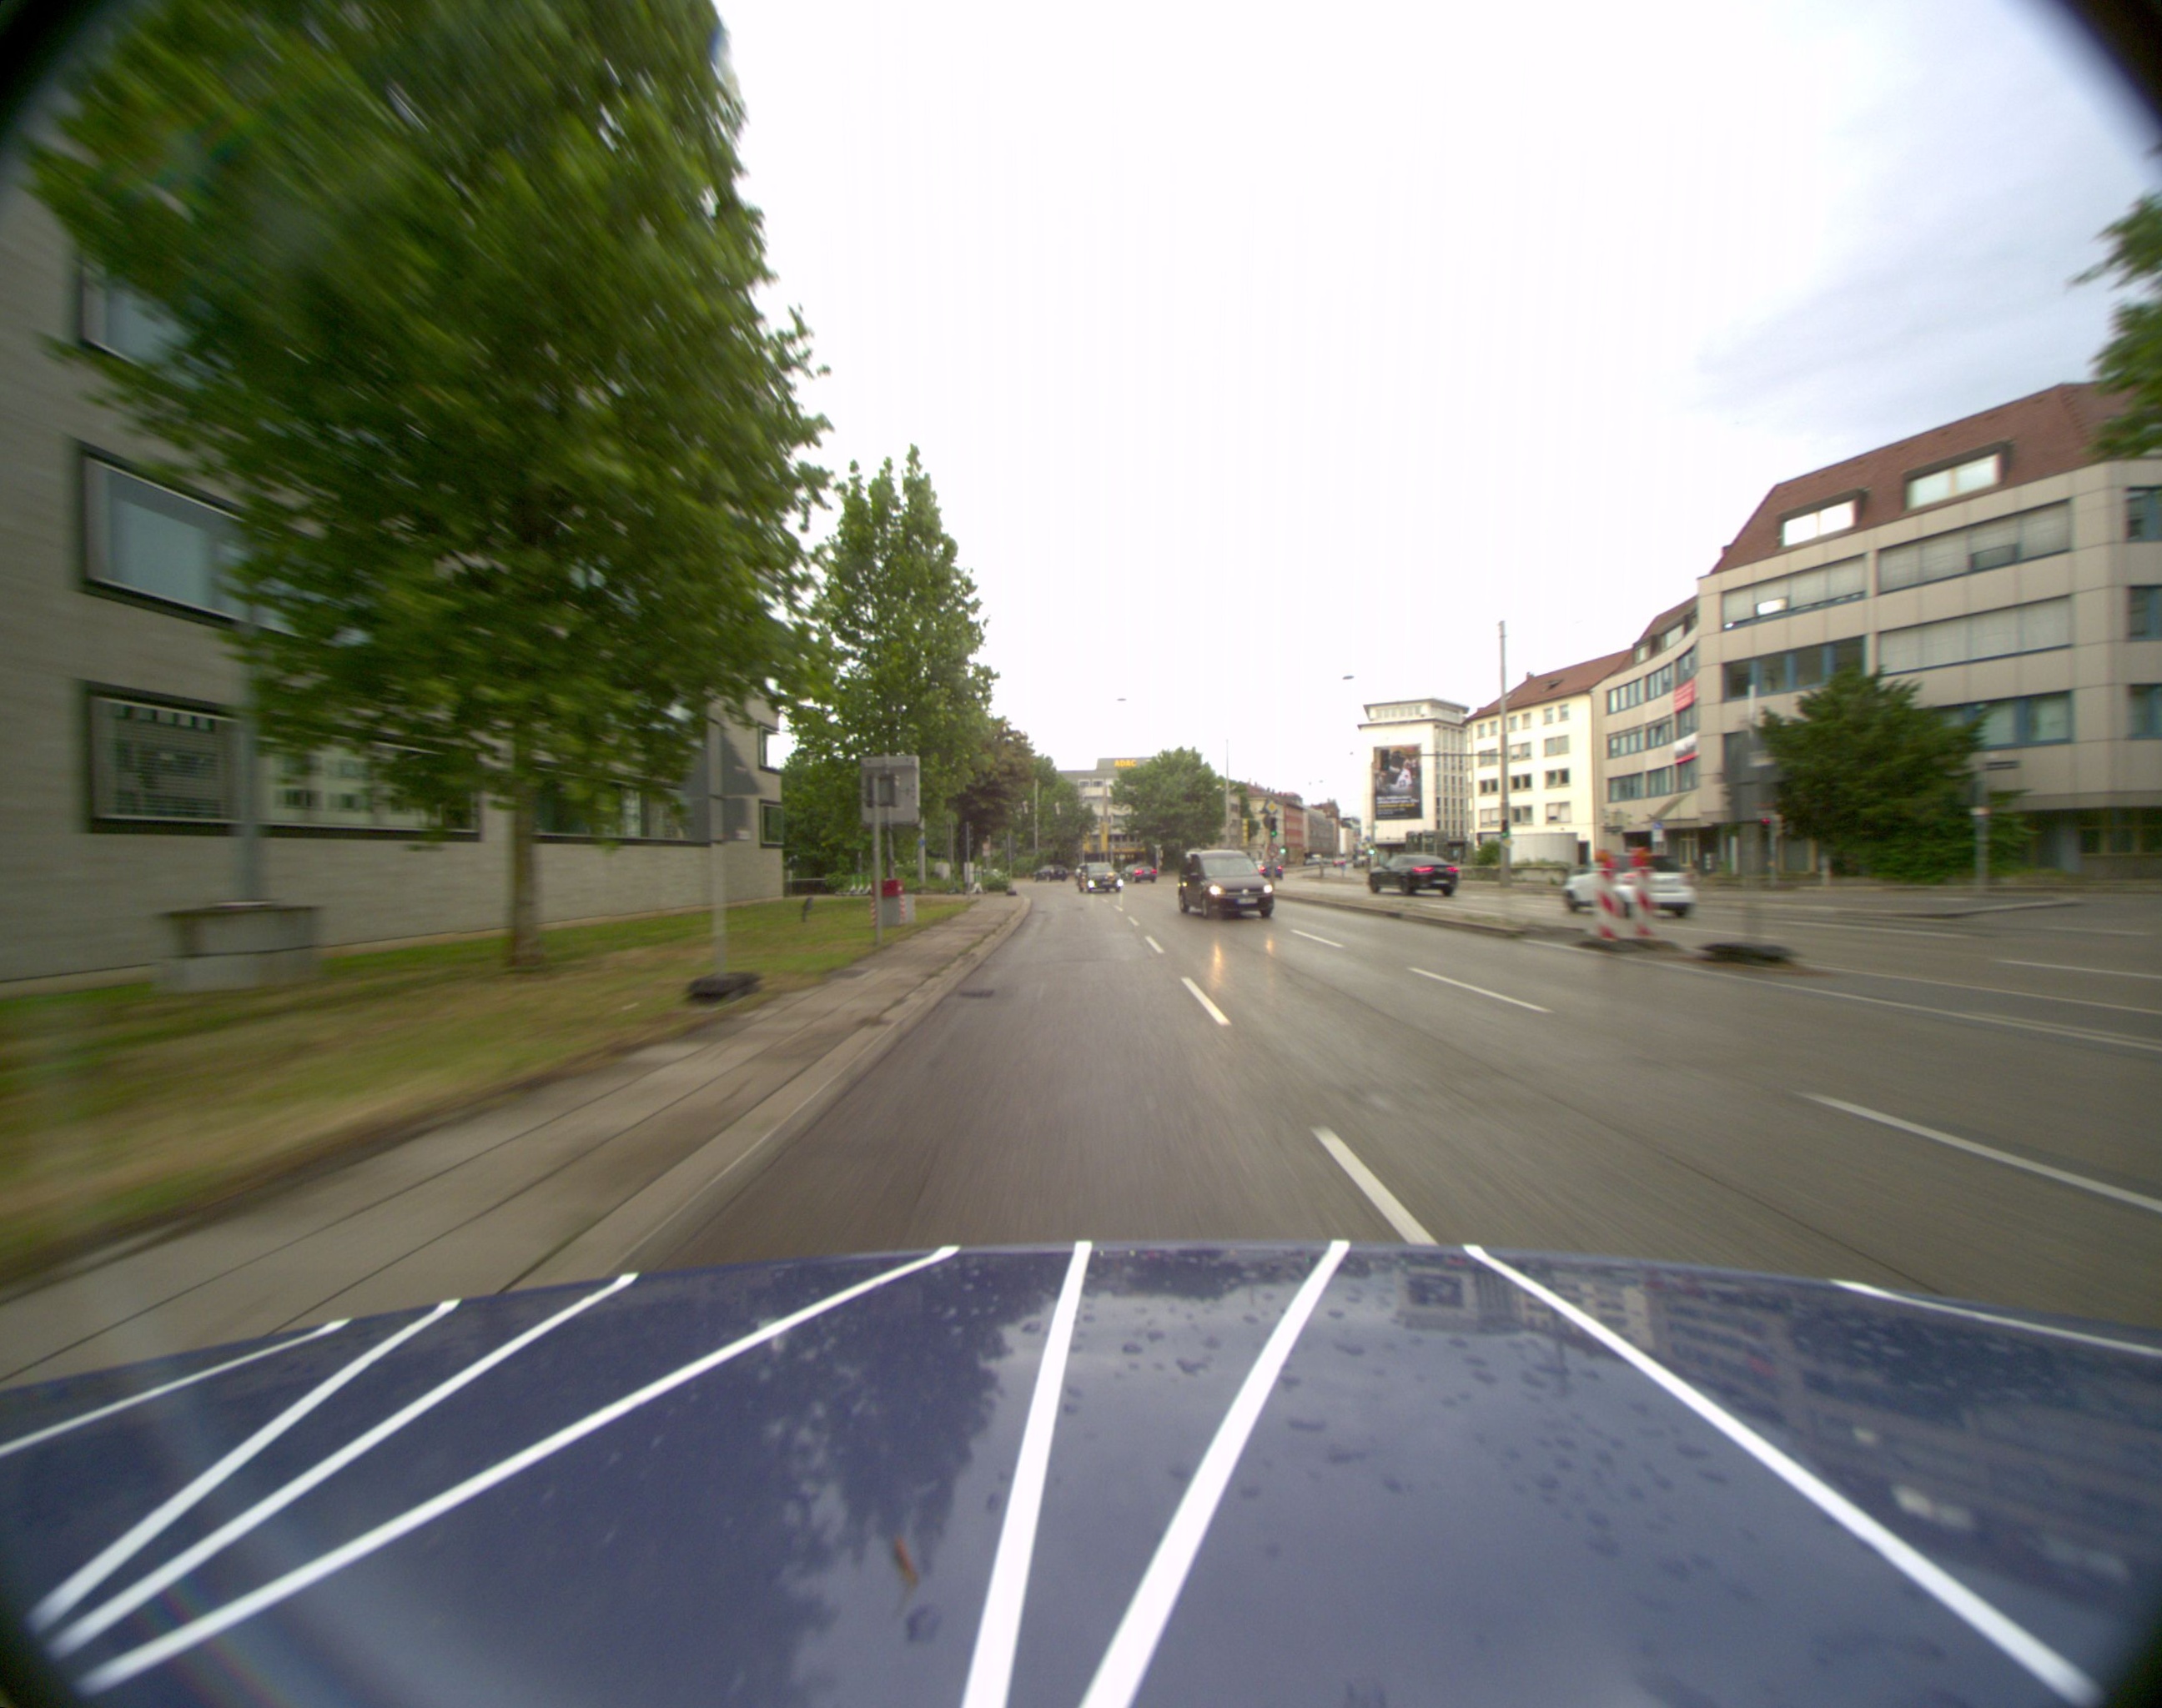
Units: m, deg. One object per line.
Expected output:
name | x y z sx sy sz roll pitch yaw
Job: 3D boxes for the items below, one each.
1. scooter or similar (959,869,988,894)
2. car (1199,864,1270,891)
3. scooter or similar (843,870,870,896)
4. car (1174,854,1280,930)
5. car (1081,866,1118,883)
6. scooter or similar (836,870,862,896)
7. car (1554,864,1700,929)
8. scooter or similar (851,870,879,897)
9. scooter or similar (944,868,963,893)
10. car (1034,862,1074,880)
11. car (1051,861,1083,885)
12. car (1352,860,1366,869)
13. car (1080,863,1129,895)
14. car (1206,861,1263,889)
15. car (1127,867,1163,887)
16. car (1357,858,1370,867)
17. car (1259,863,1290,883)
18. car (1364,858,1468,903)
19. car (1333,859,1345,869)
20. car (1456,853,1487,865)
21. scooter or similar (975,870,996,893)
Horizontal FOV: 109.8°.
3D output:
scooter or similar | -5.367 1.356 37.941 0.687 1.194 1.341 0 0 38
car | 8.580 1.267 42.880 2.001 1.429 4.932 0 -1 -14
scooter or similar | -11.548 1.503 39.126 1.241 1.305 0.472 0 0 -3
car | 3.838 0.939 20.706 1.796 1.789 4.124 -2 0 -4
car | 1.739 1.900 72.111 1.826 1.503 4.224 0 0 -25
scooter or similar | -12.090 1.510 39.638 1.241 1.305 0.472 0 0 -3
car | 13.419 1.012 18.867 1.559 1.475 2.950 0 -1 2
scooter or similar | -10.963 1.489 38.608 1.241 1.305 0.554 0 0 -3
scooter or similar | -6.243 1.310 37.352 0.563 1.194 1.326 0 0 7
car | -2.615 1.625 72.693 1.863 1.612 4.581 1 -1 -30
car | -1.113 1.431 57.724 2.000 1.734 4.652 0 0 -6
car | 48.188 1.803 131.813 1.871 1.568 4.007 0 0 27
car | 1.213 1.305 40.775 1.931 1.532 3.997 -1 0 -8
car | 9.915 1.335 49.505 1.773 1.672 4.584 0 0 -16
car | 4.758 1.678 56.986 1.772 1.408 4.079 0 0 -9
car | 52.460 1.600 141.155 1.871 1.568 4.007 0 0 27
car | 15.567 1.501 61.318 1.766 1.503 4.123 0 0 5
car | 13.375 1.002 30.723 1.999 1.667 4.937 0 -1 -1
car | 46.773 1.837 137.671 1.995 1.832 4.447 0 0 21
car | 52.389 0.642 101.933 4.007 1.581 1.914 0 0 -34
scooter or similar | -4.922 1.388 39.085 0.638 1.121 1.590 0 0 -25
